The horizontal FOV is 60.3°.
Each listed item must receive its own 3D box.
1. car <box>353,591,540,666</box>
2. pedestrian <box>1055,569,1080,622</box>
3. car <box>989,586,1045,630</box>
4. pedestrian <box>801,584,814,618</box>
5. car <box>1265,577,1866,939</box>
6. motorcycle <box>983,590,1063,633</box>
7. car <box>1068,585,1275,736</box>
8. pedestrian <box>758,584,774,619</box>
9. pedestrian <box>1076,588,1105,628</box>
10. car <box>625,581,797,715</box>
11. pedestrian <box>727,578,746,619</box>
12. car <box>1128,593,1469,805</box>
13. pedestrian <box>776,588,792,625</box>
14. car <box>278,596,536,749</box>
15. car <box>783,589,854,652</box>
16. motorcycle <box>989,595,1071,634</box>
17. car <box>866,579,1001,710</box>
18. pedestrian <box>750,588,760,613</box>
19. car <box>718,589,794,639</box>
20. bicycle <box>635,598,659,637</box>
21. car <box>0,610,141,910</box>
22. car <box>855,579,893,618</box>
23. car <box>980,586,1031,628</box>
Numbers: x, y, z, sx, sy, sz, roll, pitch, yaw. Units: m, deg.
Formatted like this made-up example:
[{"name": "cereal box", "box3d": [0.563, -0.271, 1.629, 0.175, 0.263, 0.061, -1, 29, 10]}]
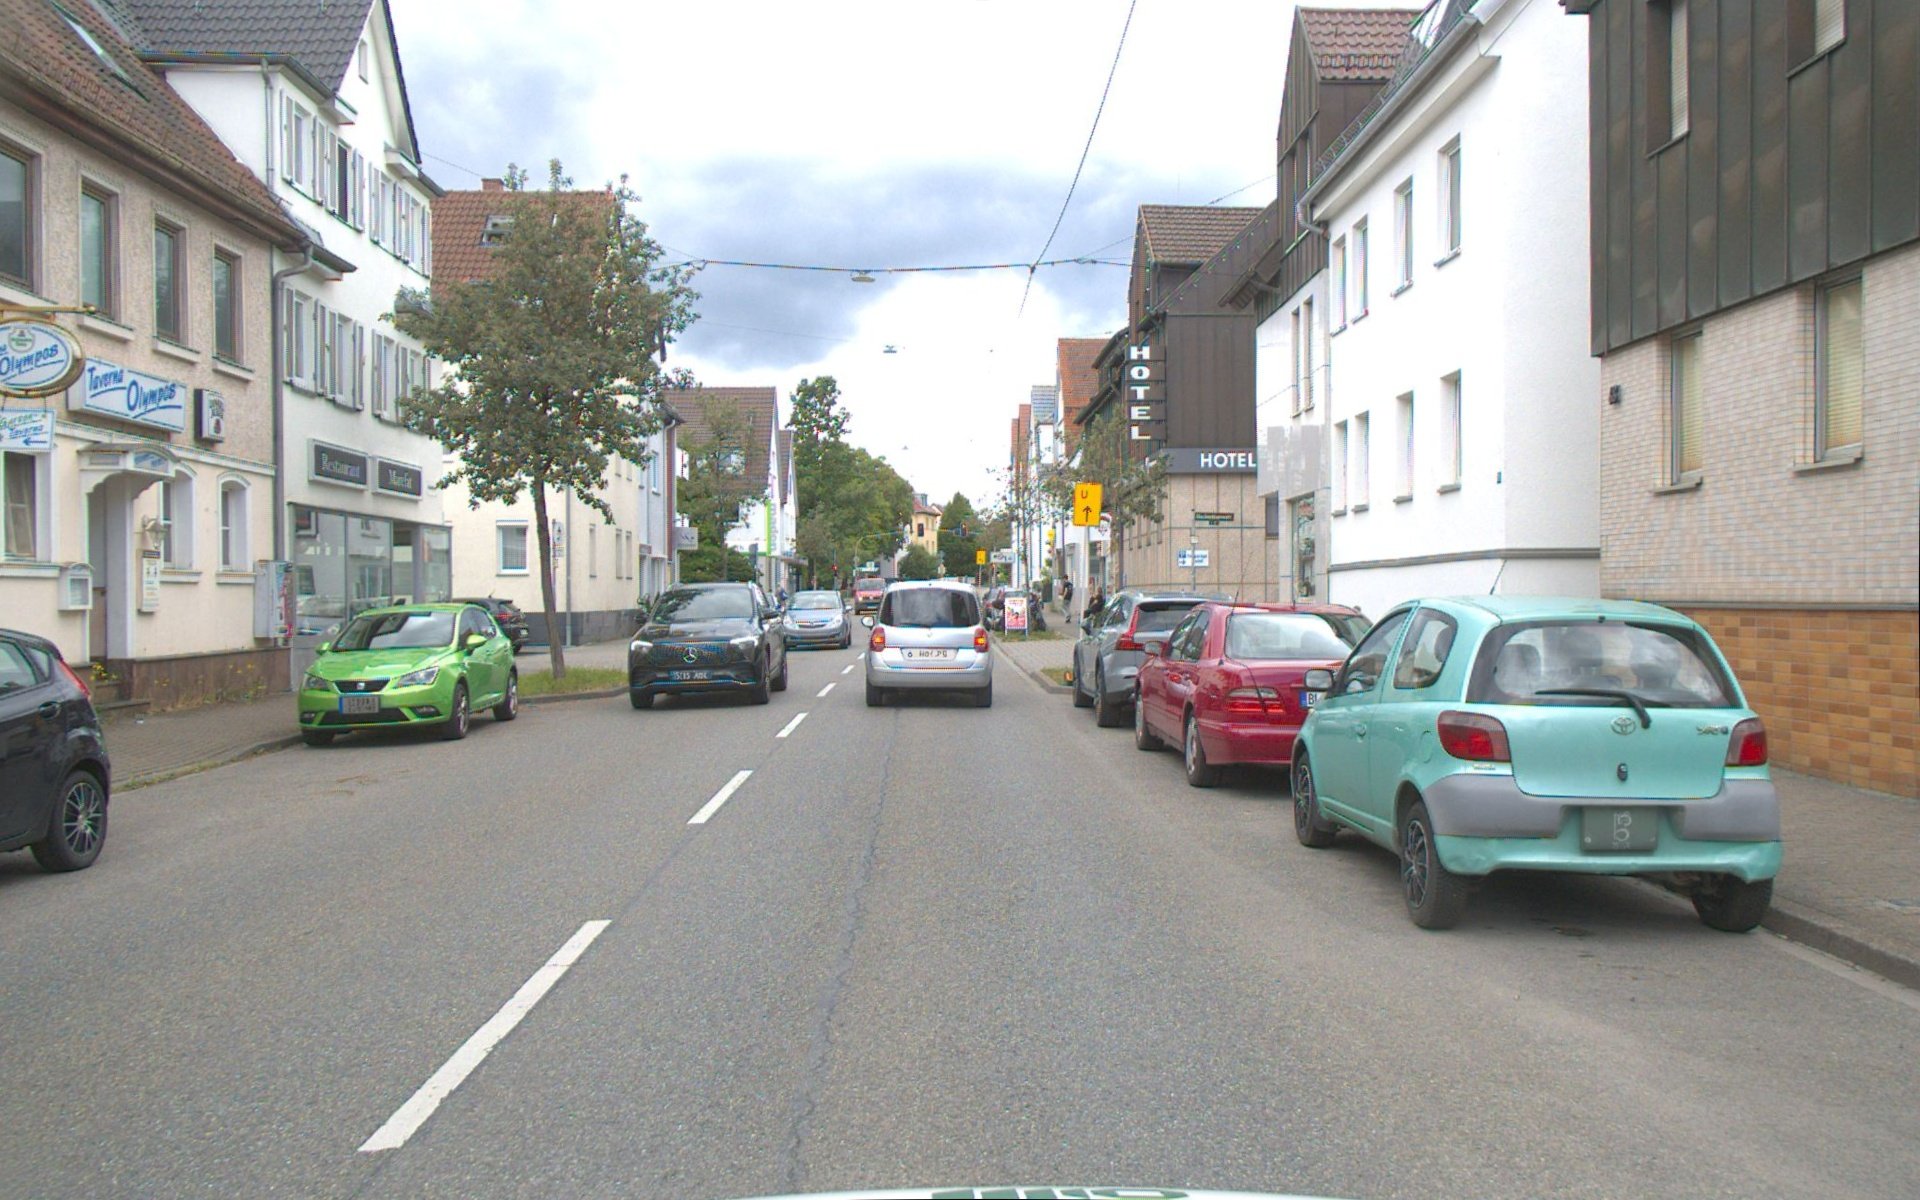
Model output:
[{"name": "car", "box3d": [-12.225, 0.668, 39.565, 3.909, 1.561, 1.734, -3, 0, -4]}, {"name": "pedestrian", "box3d": [4.010, -0.160, 61.621, 0.839, 1.961, 0.899, 0, 0, -1]}, {"name": "car", "box3d": [1.935, 0.264, 56.979, 1.666, 1.454, 3.889, 0, 0, -2]}, {"name": "pedestrian", "box3d": [-8.639, 0.032, 93.784, 0.702, 1.909, 0.695, 0, 0, -1]}, {"name": "car", "box3d": [2.956, 0.666, 9.054, 1.794, 1.524, 3.993, 1, 0, 0]}, {"name": "motorcycle", "box3d": [2.059, 0.374, 53.833, 2.680, 1.359, 0.692, 0, 0, -32]}, {"name": "car", "box3d": [2.366, 0.623, 19.601, 1.837, 1.566, 4.512, 0, 0, -1]}, {"name": "pedestrian", "box3d": [-9.981, 0.077, 85.076, 0.702, 1.787, 0.695, 0, 0, -1]}, {"name": "pedestrian", "box3d": [4.642, 0.279, 58.787, 0.870, 1.322, 0.966, -4, 0, -1]}, {"name": "car", "box3d": [-3.350, 0.588, 22.949, 1.758, 1.606, 4.191, -2, 0, -1]}, {"name": "pedestrian", "box3d": [-9.975, -0.056, 73.805, 0.747, 1.822, 0.889, 0, 0, -1]}, {"name": "car", "box3d": [2.620, 0.693, 13.885, 1.720, 1.471, 4.452, 1, 0, -3]}, {"name": "pedestrian", "box3d": [-9.056, 0.330, 85.127, 0.746, 1.909, 0.695, 0, 0, -1]}, {"name": "car", "box3d": [-6.104, 0.728, 18.726, 1.648, 1.473, 4.018, -2, 0, -2]}, {"name": "car", "box3d": [-3.594, 0.499, 42.500, 1.649, 1.473, 4.017, -2, 0, -3]}, {"name": "motorcycle", "box3d": [2.250, 0.457, 52.792, 2.701, 1.204, 0.692, 0, 0, -32]}, {"name": "car", "box3d": [-0.339, 0.538, 22.443, 1.648, 1.593, 3.993, 1, 0, 0]}, {"name": "pedestrian", "box3d": [-10.731, 0.007, 86.664, 0.482, 1.300, 0.588, 0, 0, -1]}, {"name": "car", "box3d": [-6.643, 0.425, 54.179, 1.909, 1.493, 4.515, -3, 0, -1]}, {"name": "bicycle", "box3d": [-9.535, 0.524, 50.460, 0.504, 1.174, 1.665, 0, 0, -4]}, {"name": "car", "box3d": [-5.745, 0.867, 8.088, 1.549, 1.534, 3.812, -2, 0, -1]}, {"name": "car", "box3d": [-4.690, -0.083, 90.457, 1.913, 2.049, 3.999, 0, 0, -1]}, {"name": "car", "box3d": [1.653, 0.235, 61.785, 1.666, 1.492, 4.237, 0, 0, -2]}]
